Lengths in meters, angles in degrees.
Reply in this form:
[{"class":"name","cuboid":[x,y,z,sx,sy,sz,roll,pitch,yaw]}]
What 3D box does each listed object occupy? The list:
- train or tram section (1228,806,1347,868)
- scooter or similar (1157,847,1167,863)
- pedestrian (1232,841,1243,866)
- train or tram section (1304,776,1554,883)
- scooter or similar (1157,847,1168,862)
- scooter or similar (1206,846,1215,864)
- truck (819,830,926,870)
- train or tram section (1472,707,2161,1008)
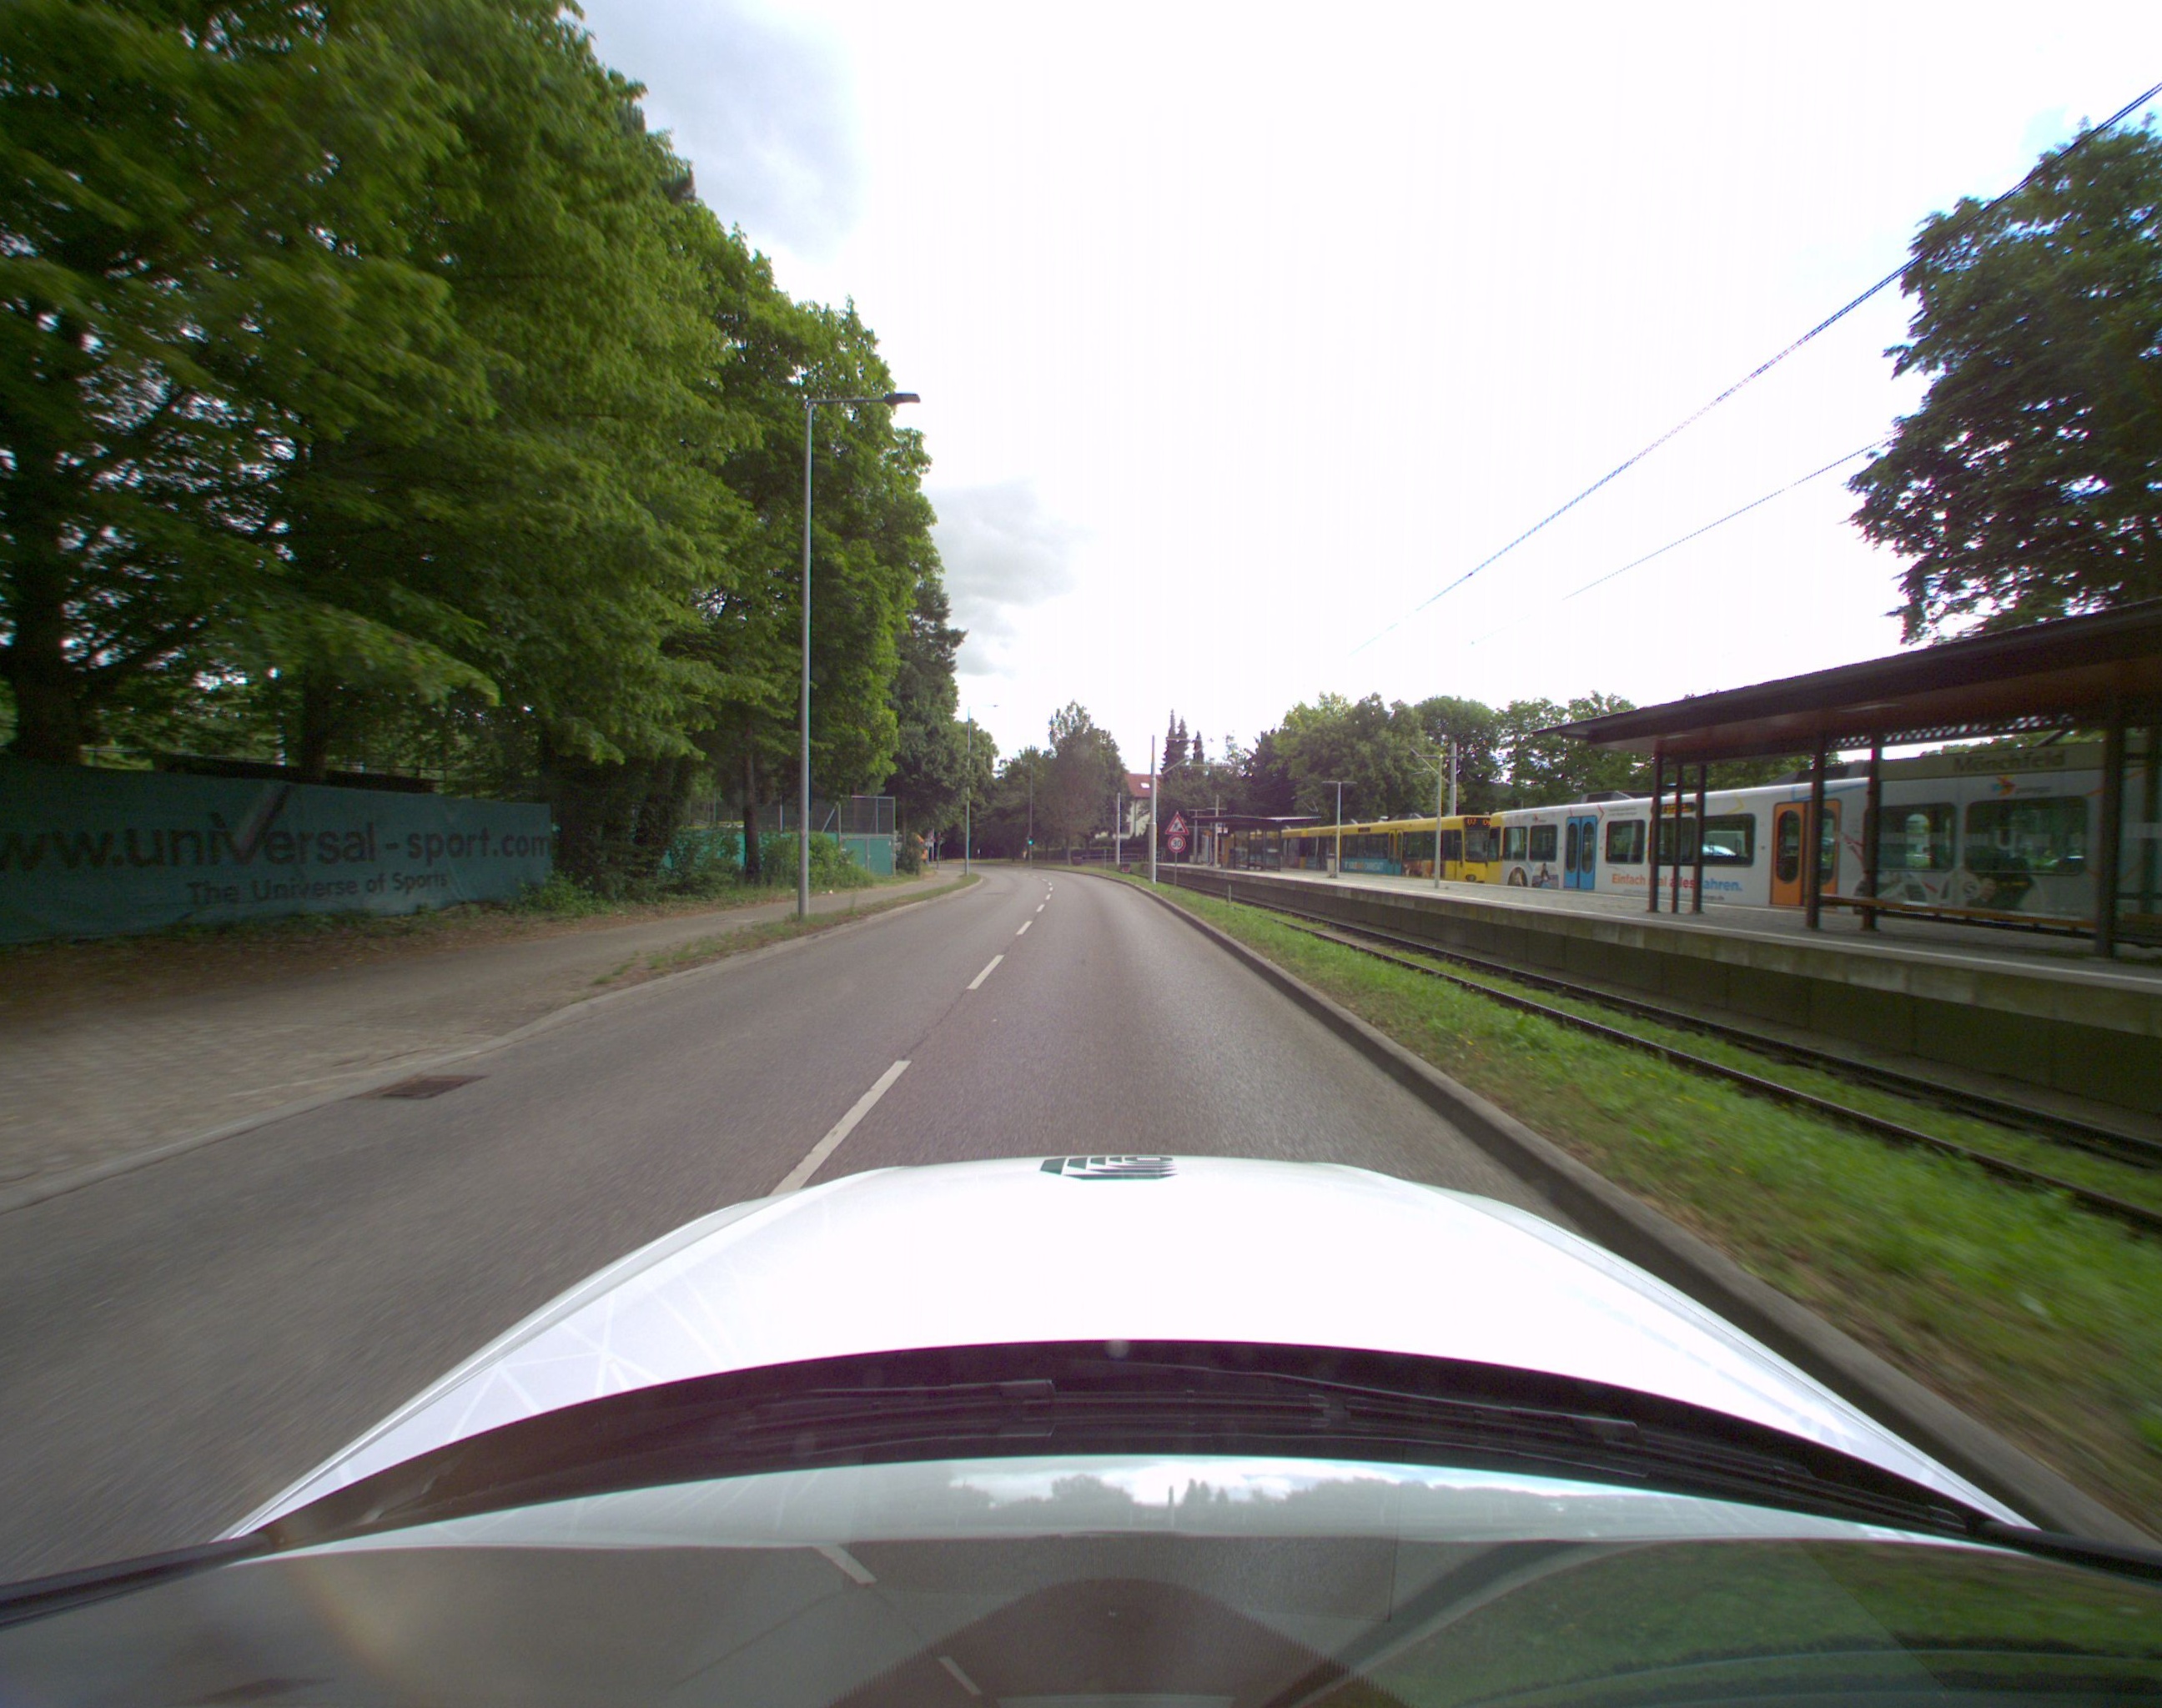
[{"class":"train or tram section","cuboid":[14.087,-1.118,58.321,2.806,3.588,19.496,1,1,-2]},{"class":"scooter or similar","cuboid":[6.622,0.068,66.774,0.430,1.253,1.249,-1,-2,-12]},{"class":"pedestrian","cuboid":[9.827,-0.032,51.157,0.618,1.573,0.667,0,0,14]},{"class":"train or tram section","cuboid":[15.062,-0.964,38.732,2.806,3.736,19.496,1,1,-2]},{"class":"scooter or similar","cuboid":[6.907,0.027,68.965,0.430,1.253,1.248,-1,-2,-15]},{"class":"scooter or similar","cuboid":[9.000,0.052,56.712,0.367,1.242,1.145,0,0,-4]},{"class":"truck","cuboid":[-18.767,-0.329,73.487,9.254,3.531,2.550,0,-1,-18]},{"class":"train or tram section","cuboid":[15.262,-0.022,19.724,2.803,3.798,18.939,1,1,1]}]
